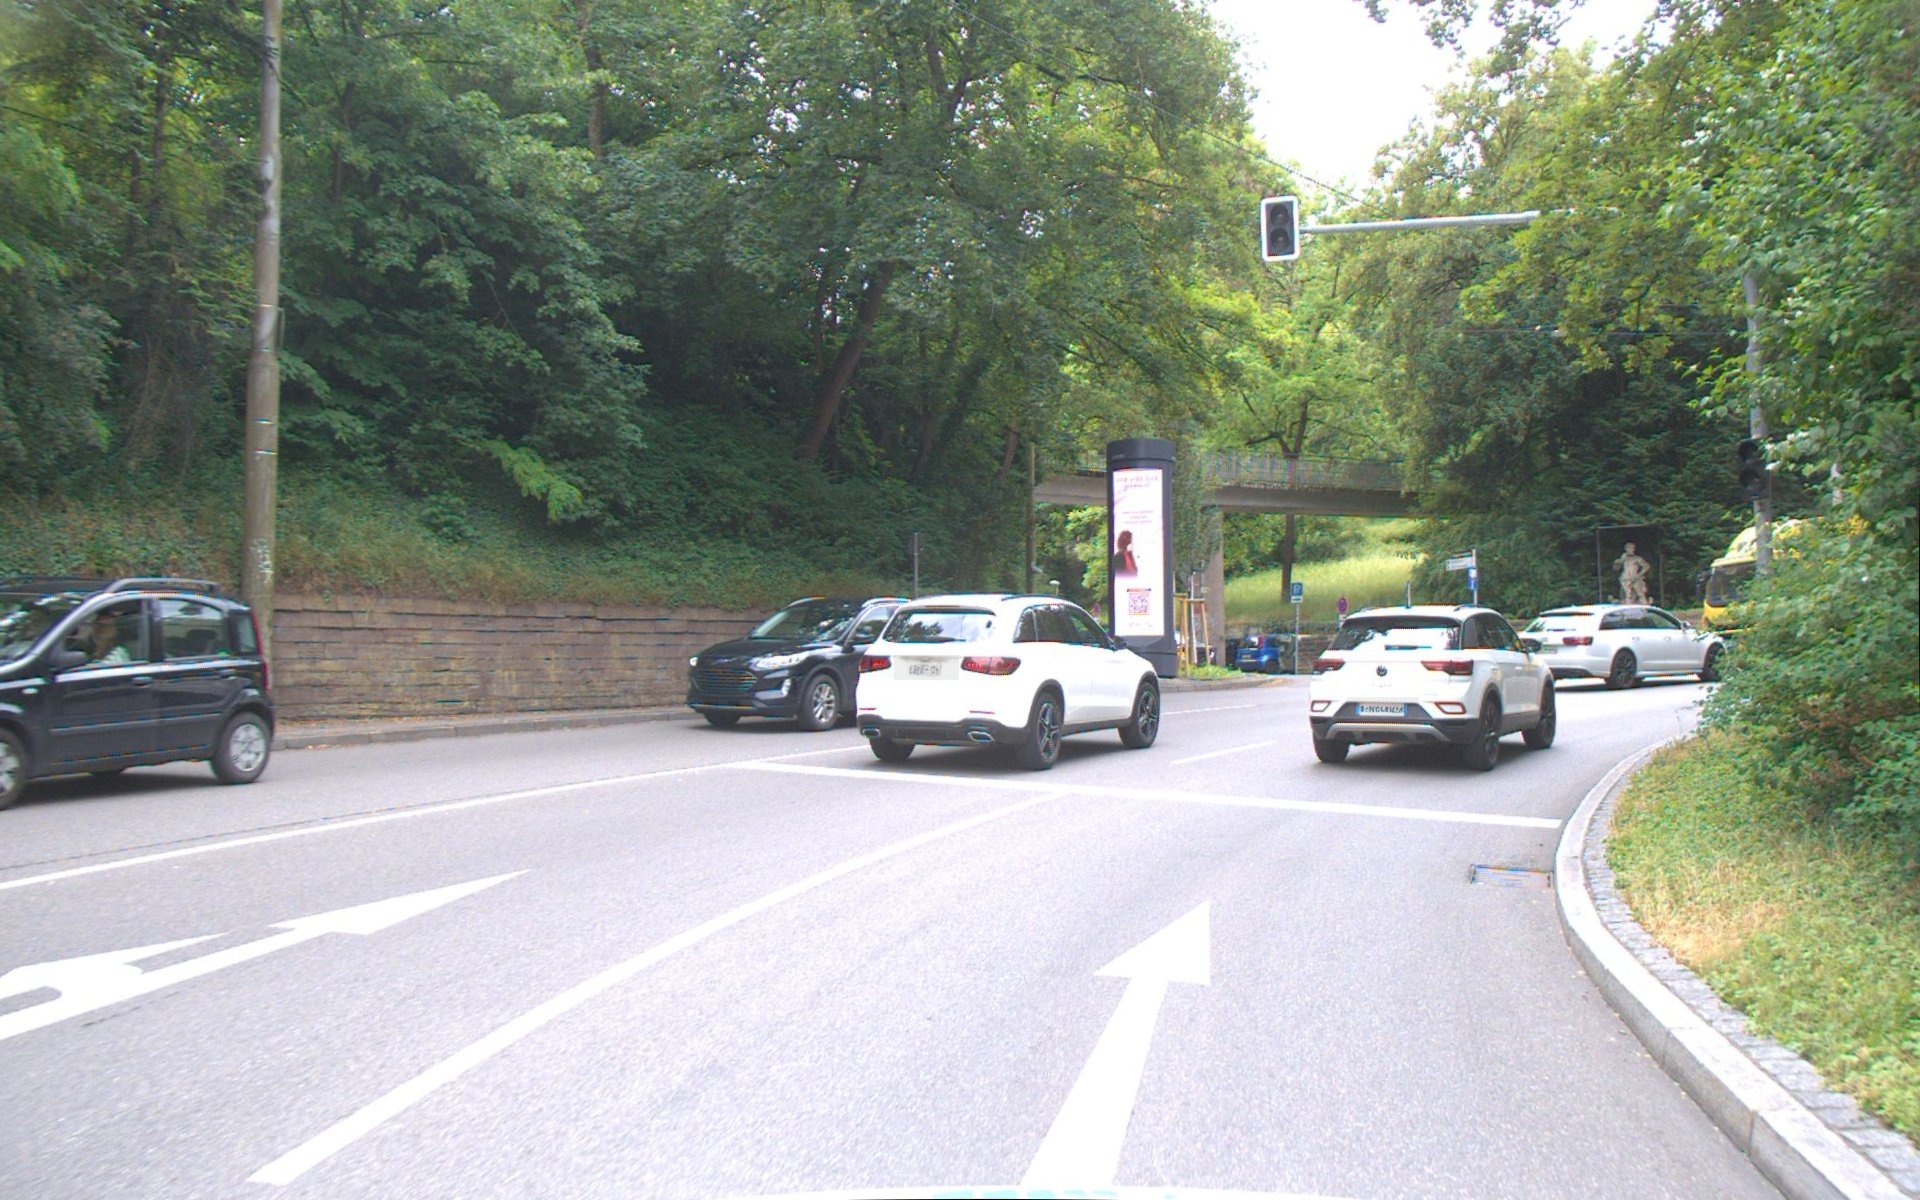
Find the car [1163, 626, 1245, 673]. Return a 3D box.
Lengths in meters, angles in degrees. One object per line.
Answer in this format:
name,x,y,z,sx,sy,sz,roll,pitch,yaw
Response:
car,7.642,1.549,52.117,1.714,1.382,3.996,-1,-1,-4

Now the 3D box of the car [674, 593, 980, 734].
car,-1.607,0.789,21.789,1.721,1.653,4.641,-1,-1,30

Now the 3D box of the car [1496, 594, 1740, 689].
car,12.010,0.709,30.079,4.721,1.561,1.848,-1,0,-35

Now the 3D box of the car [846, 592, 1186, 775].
car,0.762,0.757,17.308,1.822,1.634,4.666,0,0,26

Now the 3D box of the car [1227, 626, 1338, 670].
car,11.943,1.791,61.197,3.951,1.579,1.755,1,-3,-34

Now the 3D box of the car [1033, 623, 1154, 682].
car,4.048,1.621,50.930,1.779,1.714,4.508,0,-2,-24

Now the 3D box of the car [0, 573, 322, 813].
car,-6.516,0.611,11.996,1.474,1.552,3.661,1,-1,19

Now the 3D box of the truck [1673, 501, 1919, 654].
truck,21.137,-0.543,39.283,7.425,3.358,2.750,-2,-2,-12

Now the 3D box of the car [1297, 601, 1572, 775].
car,5.143,0.819,17.524,1.722,1.580,4.327,1,0,31
